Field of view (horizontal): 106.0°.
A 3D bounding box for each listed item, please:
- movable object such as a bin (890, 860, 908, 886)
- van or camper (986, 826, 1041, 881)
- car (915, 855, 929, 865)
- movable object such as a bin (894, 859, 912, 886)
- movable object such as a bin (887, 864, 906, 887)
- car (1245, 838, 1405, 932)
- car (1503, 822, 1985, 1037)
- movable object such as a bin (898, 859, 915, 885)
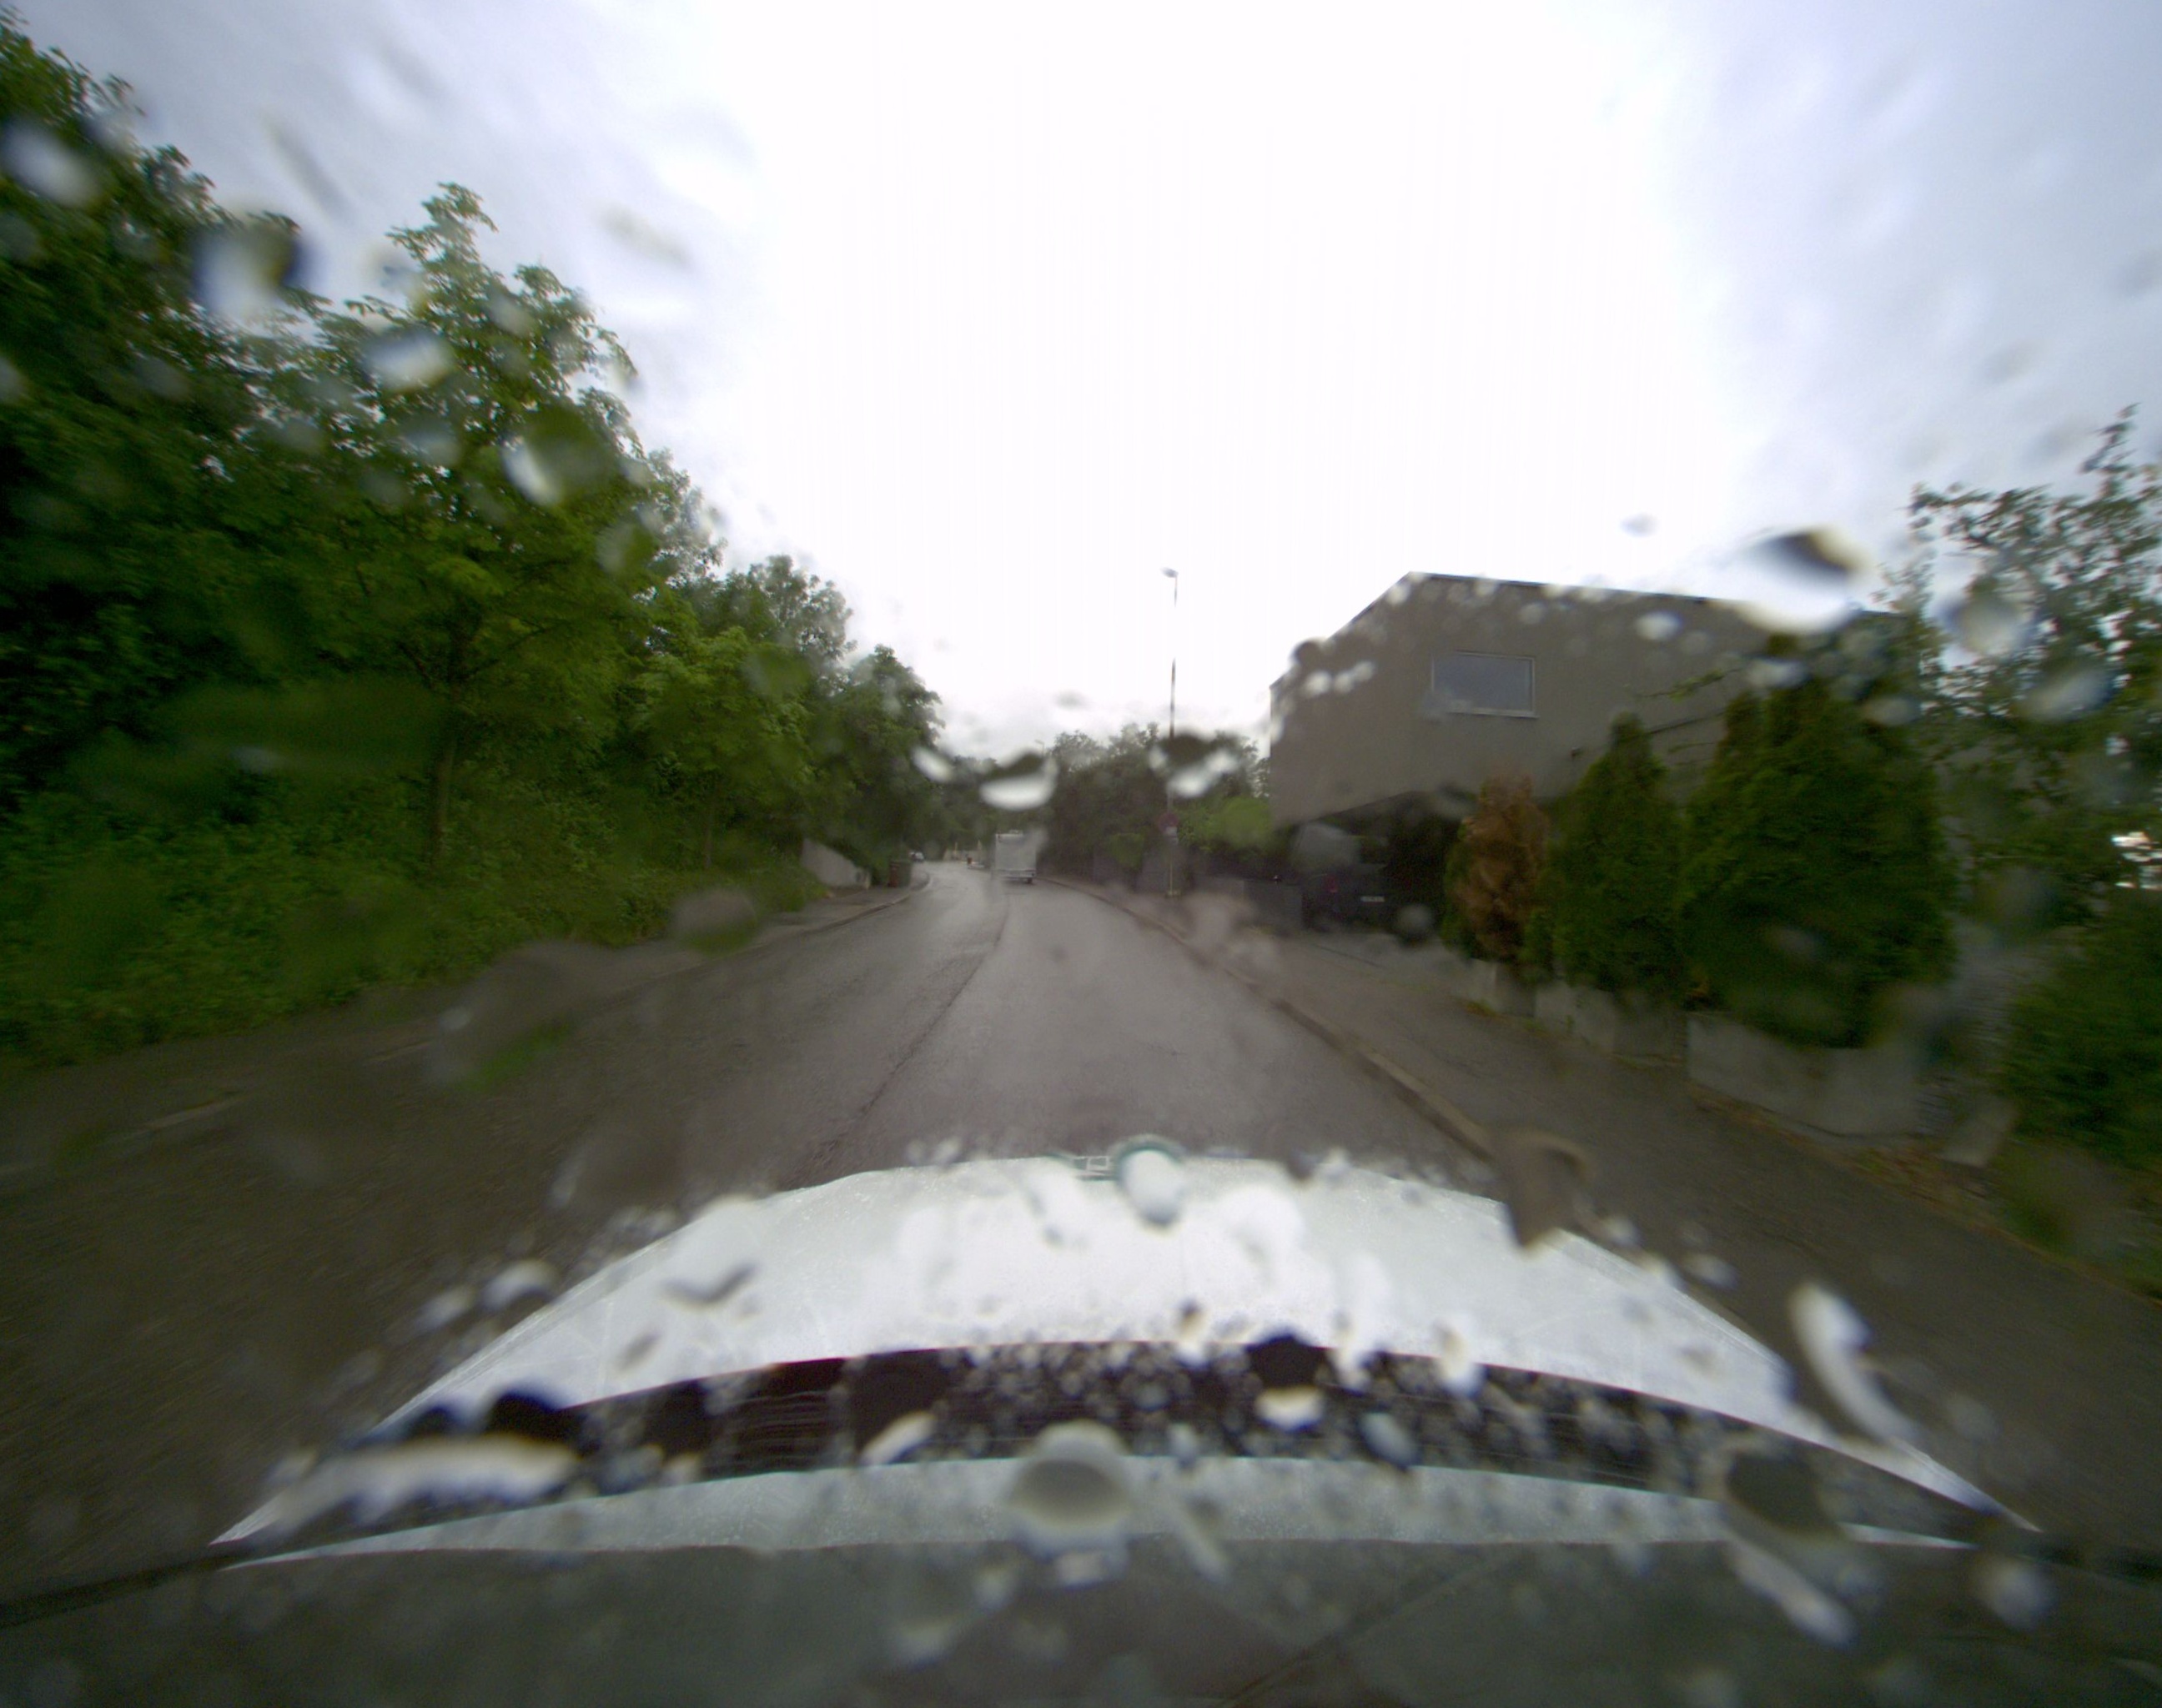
[{"bbox_3d":[-7.572,0.786,33.900,0.647,1.081,0.671,1,0,-7],"label":"movable object such as a bin"},{"bbox_3d":[-3.943,0.033,46.387,2.541,2.925,5.925,0,-1,-11],"label":"van or camper"},{"bbox_3d":[-22.058,0.847,113.072,1.650,1.385,3.518,2,-1,-9],"label":"car"},{"bbox_3d":[-7.572,0.789,34.714,0.647,1.104,0.671,1,0,-7],"label":"movable object such as a bin"},{"bbox_3d":[-7.490,0.880,33.132,0.647,0.911,0.671,1,0,-7],"label":"movable object such as a bin"},{"bbox_3d":[5.548,0.768,19.282,1.990,1.941,4.763,1,-3,-5],"label":"car"},{"bbox_3d":[6.010,0.598,7.965,1.626,1.493,3.418,-5,-1,-7],"label":"car"},{"bbox_3d":[-7.580,0.776,35.309,0.647,1.115,0.504,1,-1,-7],"label":"movable object such as a bin"}]
